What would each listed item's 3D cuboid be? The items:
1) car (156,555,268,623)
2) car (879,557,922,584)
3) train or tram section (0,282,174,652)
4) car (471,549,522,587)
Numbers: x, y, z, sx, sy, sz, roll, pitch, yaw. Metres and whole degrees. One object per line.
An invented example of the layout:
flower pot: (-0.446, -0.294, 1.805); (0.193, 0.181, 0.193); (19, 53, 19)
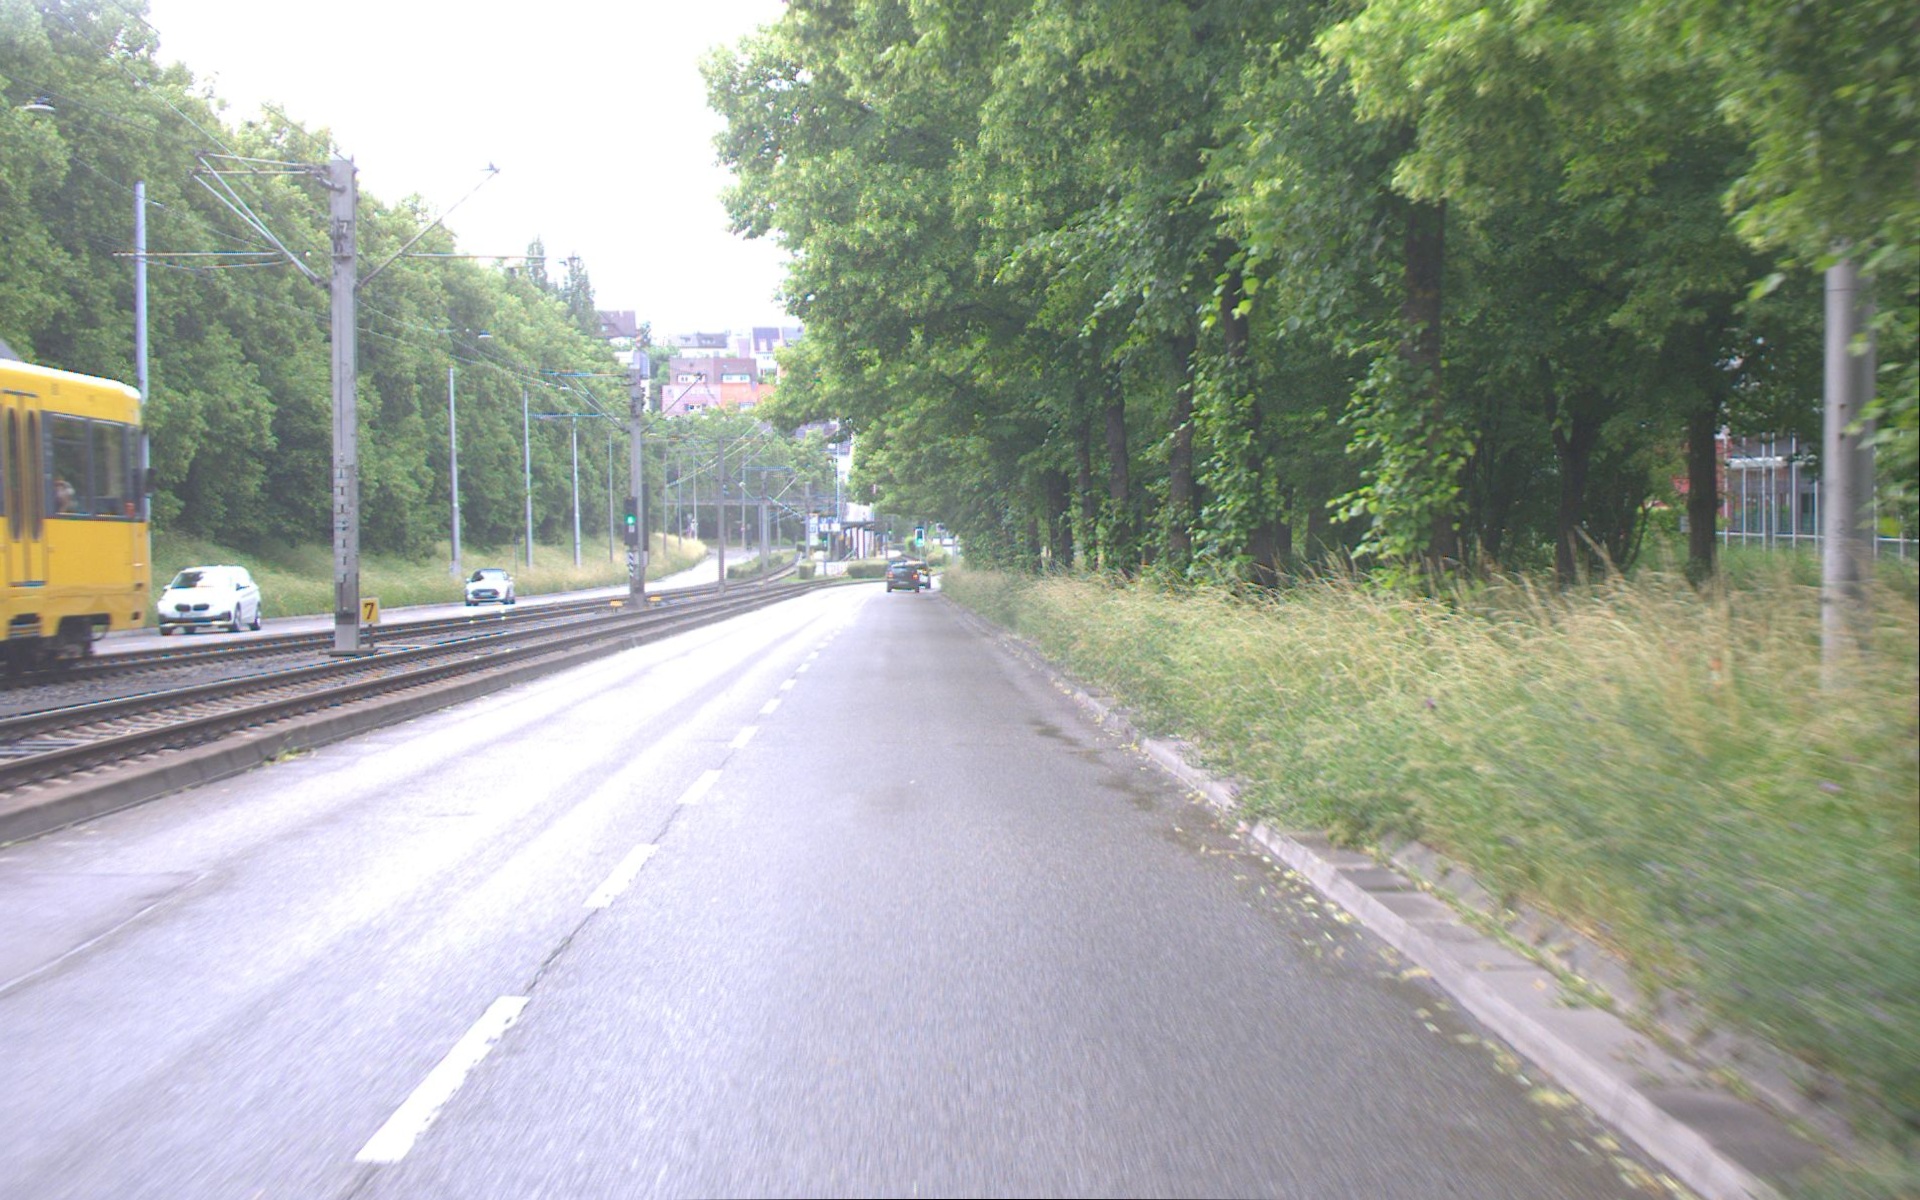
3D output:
car: (-17.440, -0.268, 80.313); (1.653, 1.524, 4.381); (0, 1, 0)
car: (-3.081, -1.529, 177.102); (2.194, 1.325, 4.001); (0, 2, -1)
train or tram section: (-11.361, -1.317, 32.995); (2.967, 3.797, 19.521); (0, 1, 1)
car: (-18.561, -1.295, 137.748); (1.476, 1.431, 3.909); (-2, 1, 0)
